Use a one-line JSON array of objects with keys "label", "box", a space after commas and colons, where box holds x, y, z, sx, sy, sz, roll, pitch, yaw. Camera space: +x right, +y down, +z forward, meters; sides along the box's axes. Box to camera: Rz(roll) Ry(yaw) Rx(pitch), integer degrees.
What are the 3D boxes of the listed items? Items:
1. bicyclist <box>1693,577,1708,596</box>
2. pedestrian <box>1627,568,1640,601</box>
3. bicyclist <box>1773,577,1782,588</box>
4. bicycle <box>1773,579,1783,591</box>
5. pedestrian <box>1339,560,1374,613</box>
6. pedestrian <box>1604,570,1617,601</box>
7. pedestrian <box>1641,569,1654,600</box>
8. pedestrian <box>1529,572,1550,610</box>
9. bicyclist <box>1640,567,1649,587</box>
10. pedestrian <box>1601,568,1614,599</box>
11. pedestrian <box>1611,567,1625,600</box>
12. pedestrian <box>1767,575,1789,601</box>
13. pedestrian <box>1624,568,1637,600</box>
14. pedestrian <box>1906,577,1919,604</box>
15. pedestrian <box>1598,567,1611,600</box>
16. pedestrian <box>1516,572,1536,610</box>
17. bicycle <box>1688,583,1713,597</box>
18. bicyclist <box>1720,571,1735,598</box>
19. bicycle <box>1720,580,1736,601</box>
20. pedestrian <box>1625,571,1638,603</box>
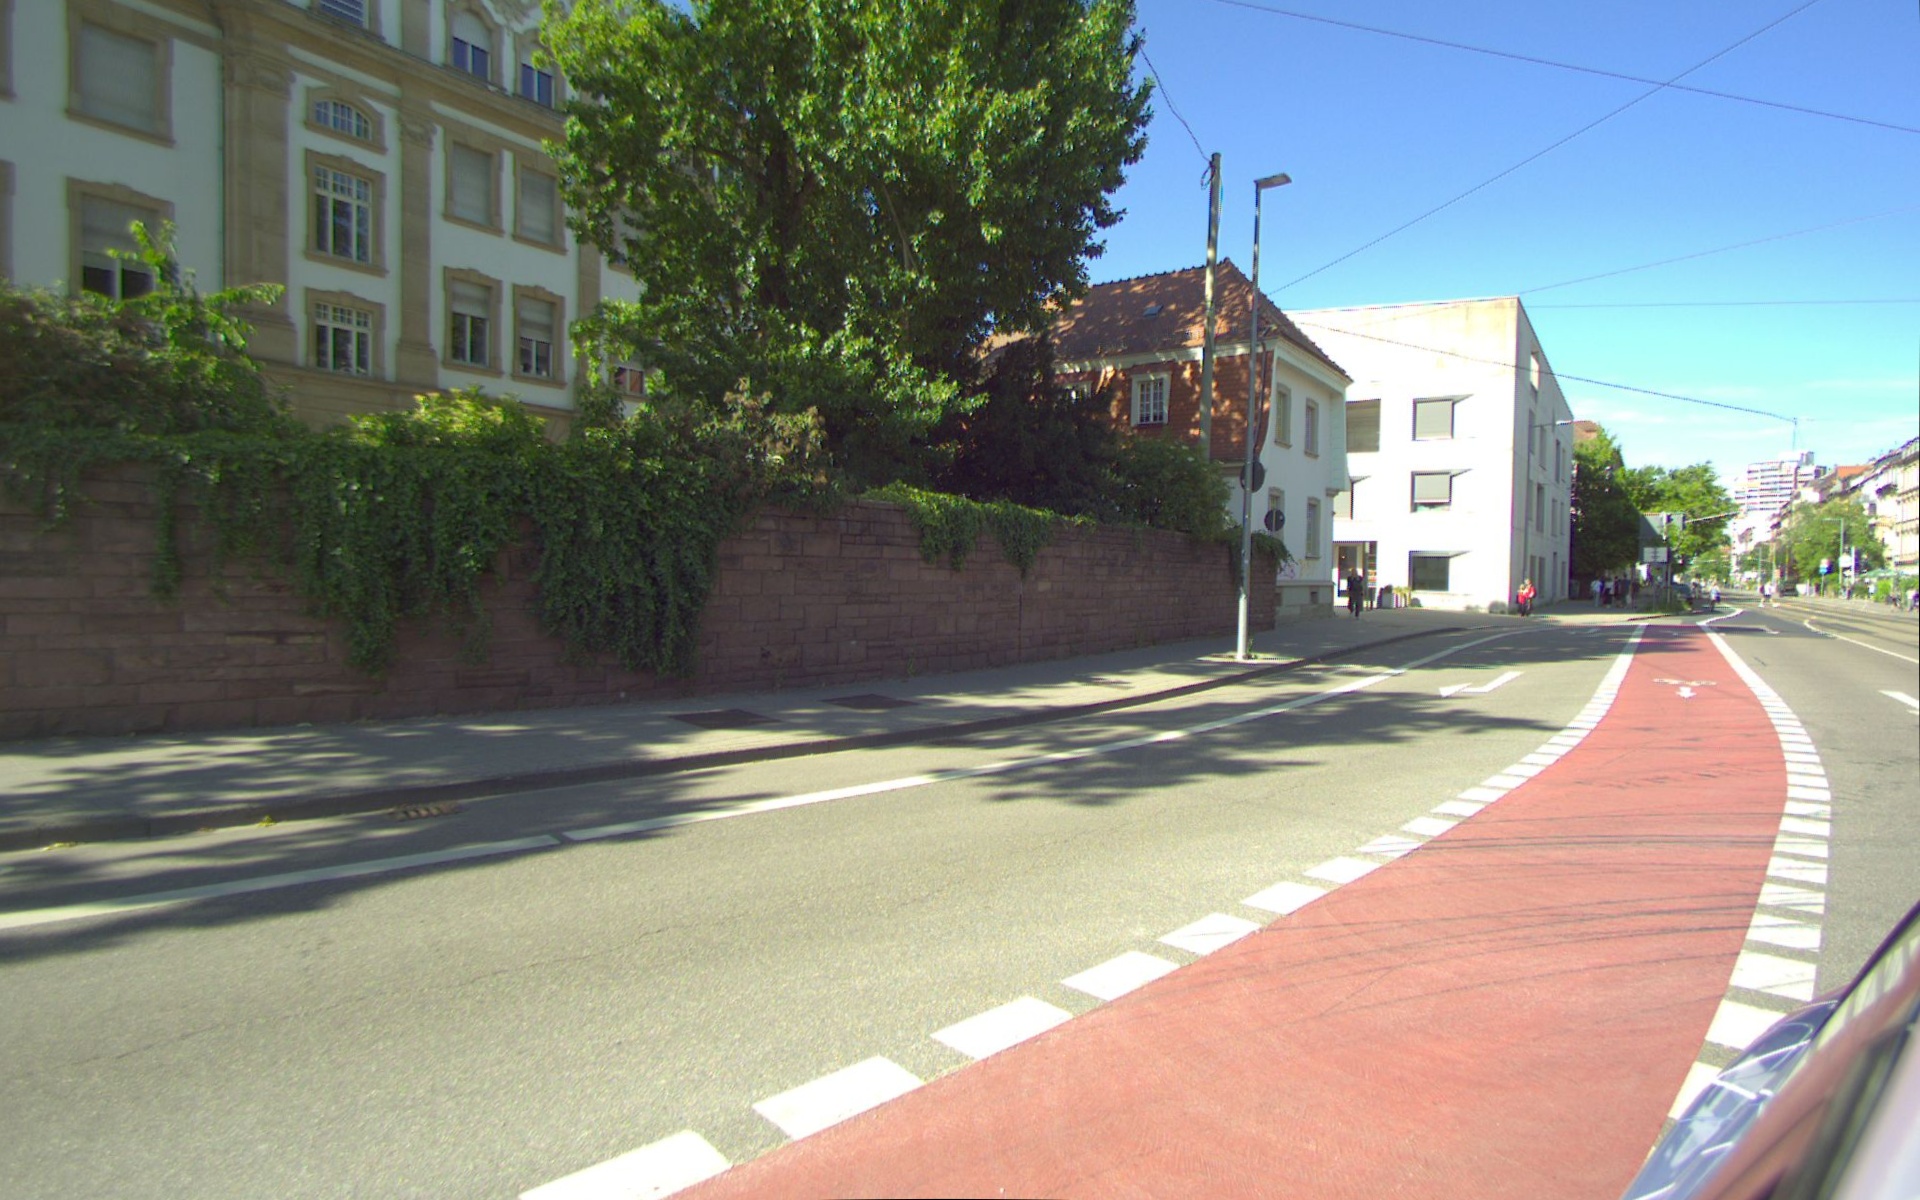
[{"label": "bicyclist", "box": [90.063, -1.599, 123.089, 0.985, 2.295, 1.020, -1, 1, 2]}, {"label": "pedestrian", "box": [37.803, -0.898, 56.794, 0.584, 1.828, 0.513, 2, 1, 36]}, {"label": "bicyclist", "box": [121.624, -2.610, 150.514, 0.998, 1.743, 0.972, 0, 1, 37]}, {"label": "bicycle", "box": [121.635, -2.206, 150.523, 0.998, 1.702, 2.946, 0, 2, 36]}, {"label": "pedestrian", "box": [13.221, -0.468, 33.714, 0.931, 1.698, 0.946, 4, 4, 26]}, {"label": "pedestrian", "box": [38.763, -0.848, 60.316, 0.584, 1.828, 0.538, 2, 1, 36]}, {"label": "pedestrian", "box": [38.466, -0.867, 56.635, 0.584, 1.749, 0.513, 2, 2, 36]}, {"label": "pedestrian", "box": [24.426, -0.368, 42.672, 0.509, 1.586, 0.535, 0, 1, -25]}, {"label": "bicyclist", "box": [81.065, -2.723, 119.847, 0.809, 2.234, 0.971, 0, 1, 38]}, {"label": "pedestrian", "box": [37.748, -0.973, 58.998, 0.584, 1.828, 0.575, 2, 2, 36]}, {"label": "pedestrian", "box": [37.221, -0.933, 57.236, 0.584, 1.828, 0.538, 2, 1, 36]}, {"label": "pedestrian", "box": [55.789, -0.815, 69.030, 0.919, 1.759, 0.675, 1, 1, 18]}, {"label": "pedestrian", "box": [38.653, -0.908, 58.363, 0.584, 1.828, 0.575, 2, 2, 36]}, {"label": "pedestrian", "box": [65.899, -0.678, 70.000, 0.576, 1.879, 0.675, 2, 2, 37]}, {"label": "pedestrian", "box": [36.795, -0.942, 57.757, 0.584, 1.828, 0.538, 2, 1, 36]}, {"label": "pedestrian", "box": [24.180, -0.380, 43.230, 0.509, 1.586, 0.535, 0, 1, -25]}, {"label": "bicycle", "box": [90.064, -1.208, 123.119, 0.985, 1.702, 2.984, -1, 2, 2]}, {"label": "bicyclist", "box": [43.112, -0.890, 56.824, 0.662, 1.479, 0.613, 0, 1, 40]}, {"label": "bicycle", "box": [43.127, -0.548, 56.844, 0.662, 1.166, 1.648, 0, 2, 40]}, {"label": "pedestrian", "box": [39.608, -0.780, 59.723, 0.584, 1.828, 0.538, 2, 1, 36]}]
